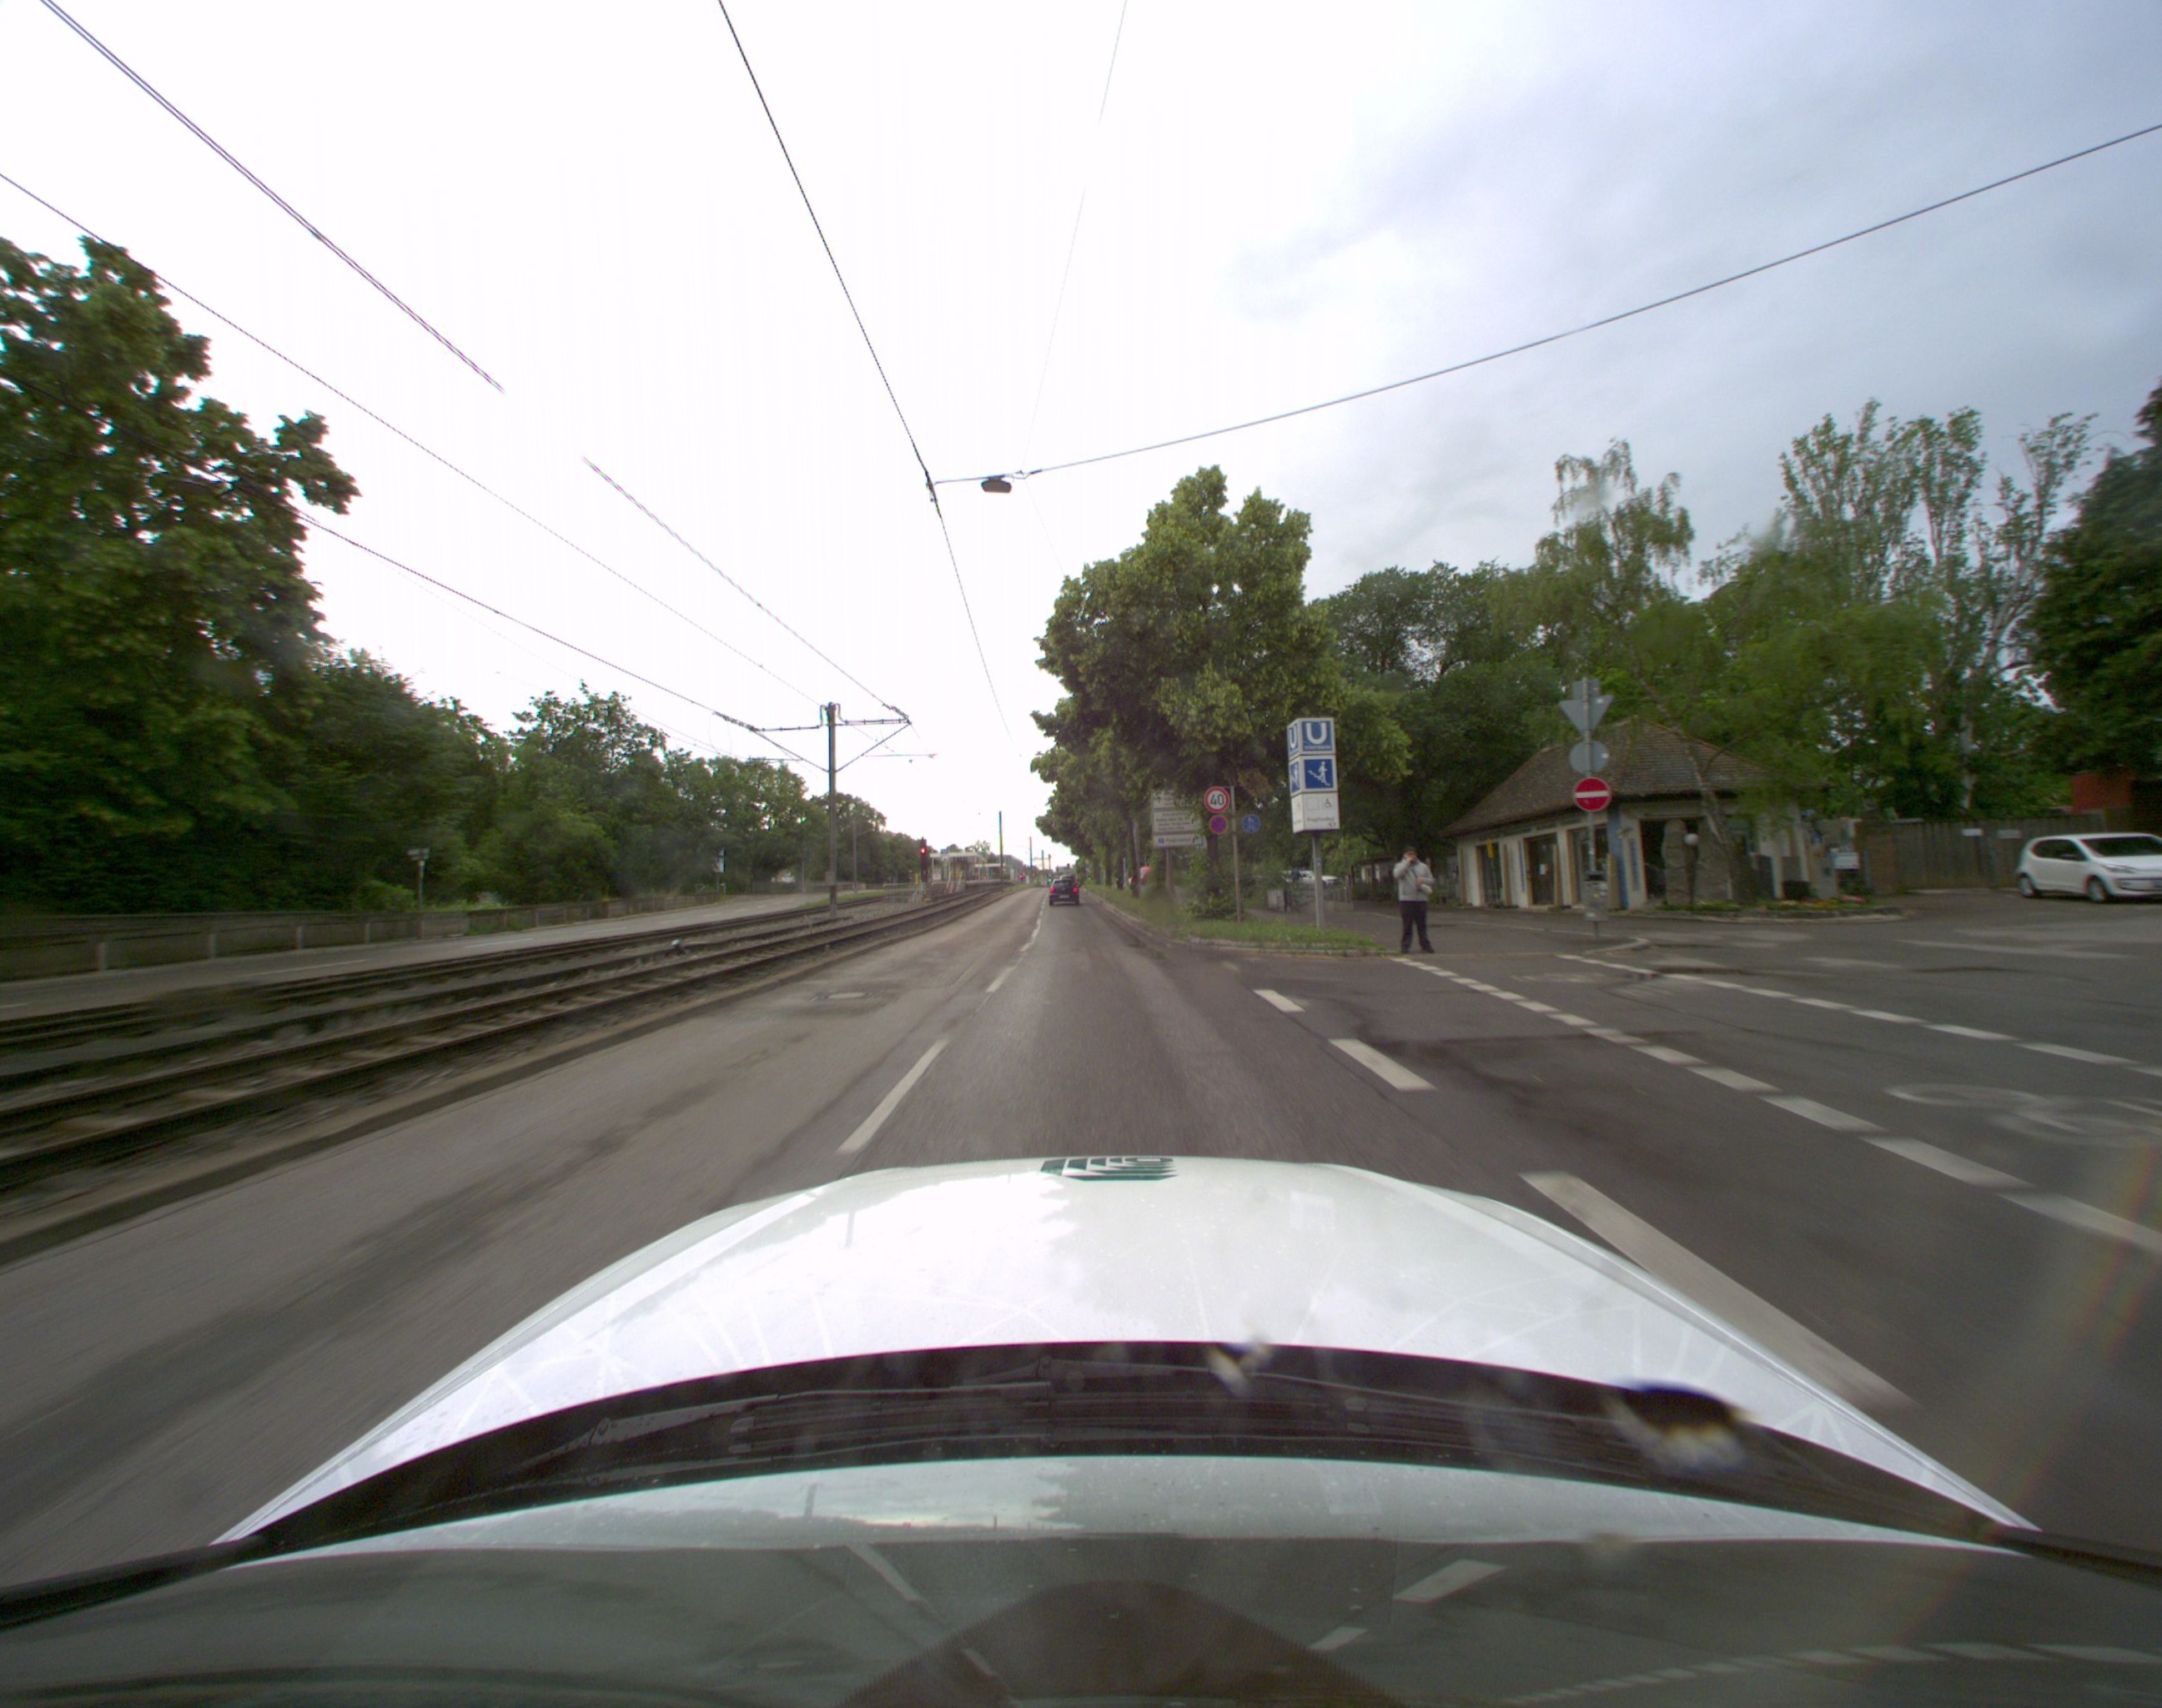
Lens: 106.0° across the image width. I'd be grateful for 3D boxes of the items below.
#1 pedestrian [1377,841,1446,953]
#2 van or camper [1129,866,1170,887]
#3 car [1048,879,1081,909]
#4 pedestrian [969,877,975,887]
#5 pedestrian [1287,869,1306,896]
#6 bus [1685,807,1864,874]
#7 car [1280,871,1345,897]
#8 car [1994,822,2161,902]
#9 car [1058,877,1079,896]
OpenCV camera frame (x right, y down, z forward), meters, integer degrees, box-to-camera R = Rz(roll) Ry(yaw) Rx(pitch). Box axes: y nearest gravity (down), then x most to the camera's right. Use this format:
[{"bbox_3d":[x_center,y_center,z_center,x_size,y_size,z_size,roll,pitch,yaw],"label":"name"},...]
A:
[{"bbox_3d":[5.641,0.721,13.937,0.851,1.854,0.737,-1,-2,2],"label":"pedestrian"},{"bbox_3d":[8.410,2.753,99.708,2.015,2.406,5.423,1,-2,42],"label":"van or camper"},{"bbox_3d":[-0.882,2.194,45.380,1.722,1.541,3.998,-1,-1,-1],"label":"car"},{"bbox_3d":[-13.497,3.429,100.991,0.708,1.226,0.619,-1,-2,-1],"label":"pedestrian"},{"bbox_3d":[16.329,2.166,61.645,0.965,2.014,0.943,0,-2,-25],"label":"pedestrian"},{"bbox_3d":[31.404,-0.464,37.328,2.242,2.701,7.171,-2,-2,3],"label":"bus"},{"bbox_3d":[17.700,2.292,62.306,1.956,1.835,4.414,2,-2,-42],"label":"car"},{"bbox_3d":[22.318,0.166,17.820,1.810,1.579,3.784,-2,-1,27],"label":"car"},{"bbox_3d":[-1.059,2.690,67.792,1.682,1.517,3.997,-1,-1,-1],"label":"car"}]
